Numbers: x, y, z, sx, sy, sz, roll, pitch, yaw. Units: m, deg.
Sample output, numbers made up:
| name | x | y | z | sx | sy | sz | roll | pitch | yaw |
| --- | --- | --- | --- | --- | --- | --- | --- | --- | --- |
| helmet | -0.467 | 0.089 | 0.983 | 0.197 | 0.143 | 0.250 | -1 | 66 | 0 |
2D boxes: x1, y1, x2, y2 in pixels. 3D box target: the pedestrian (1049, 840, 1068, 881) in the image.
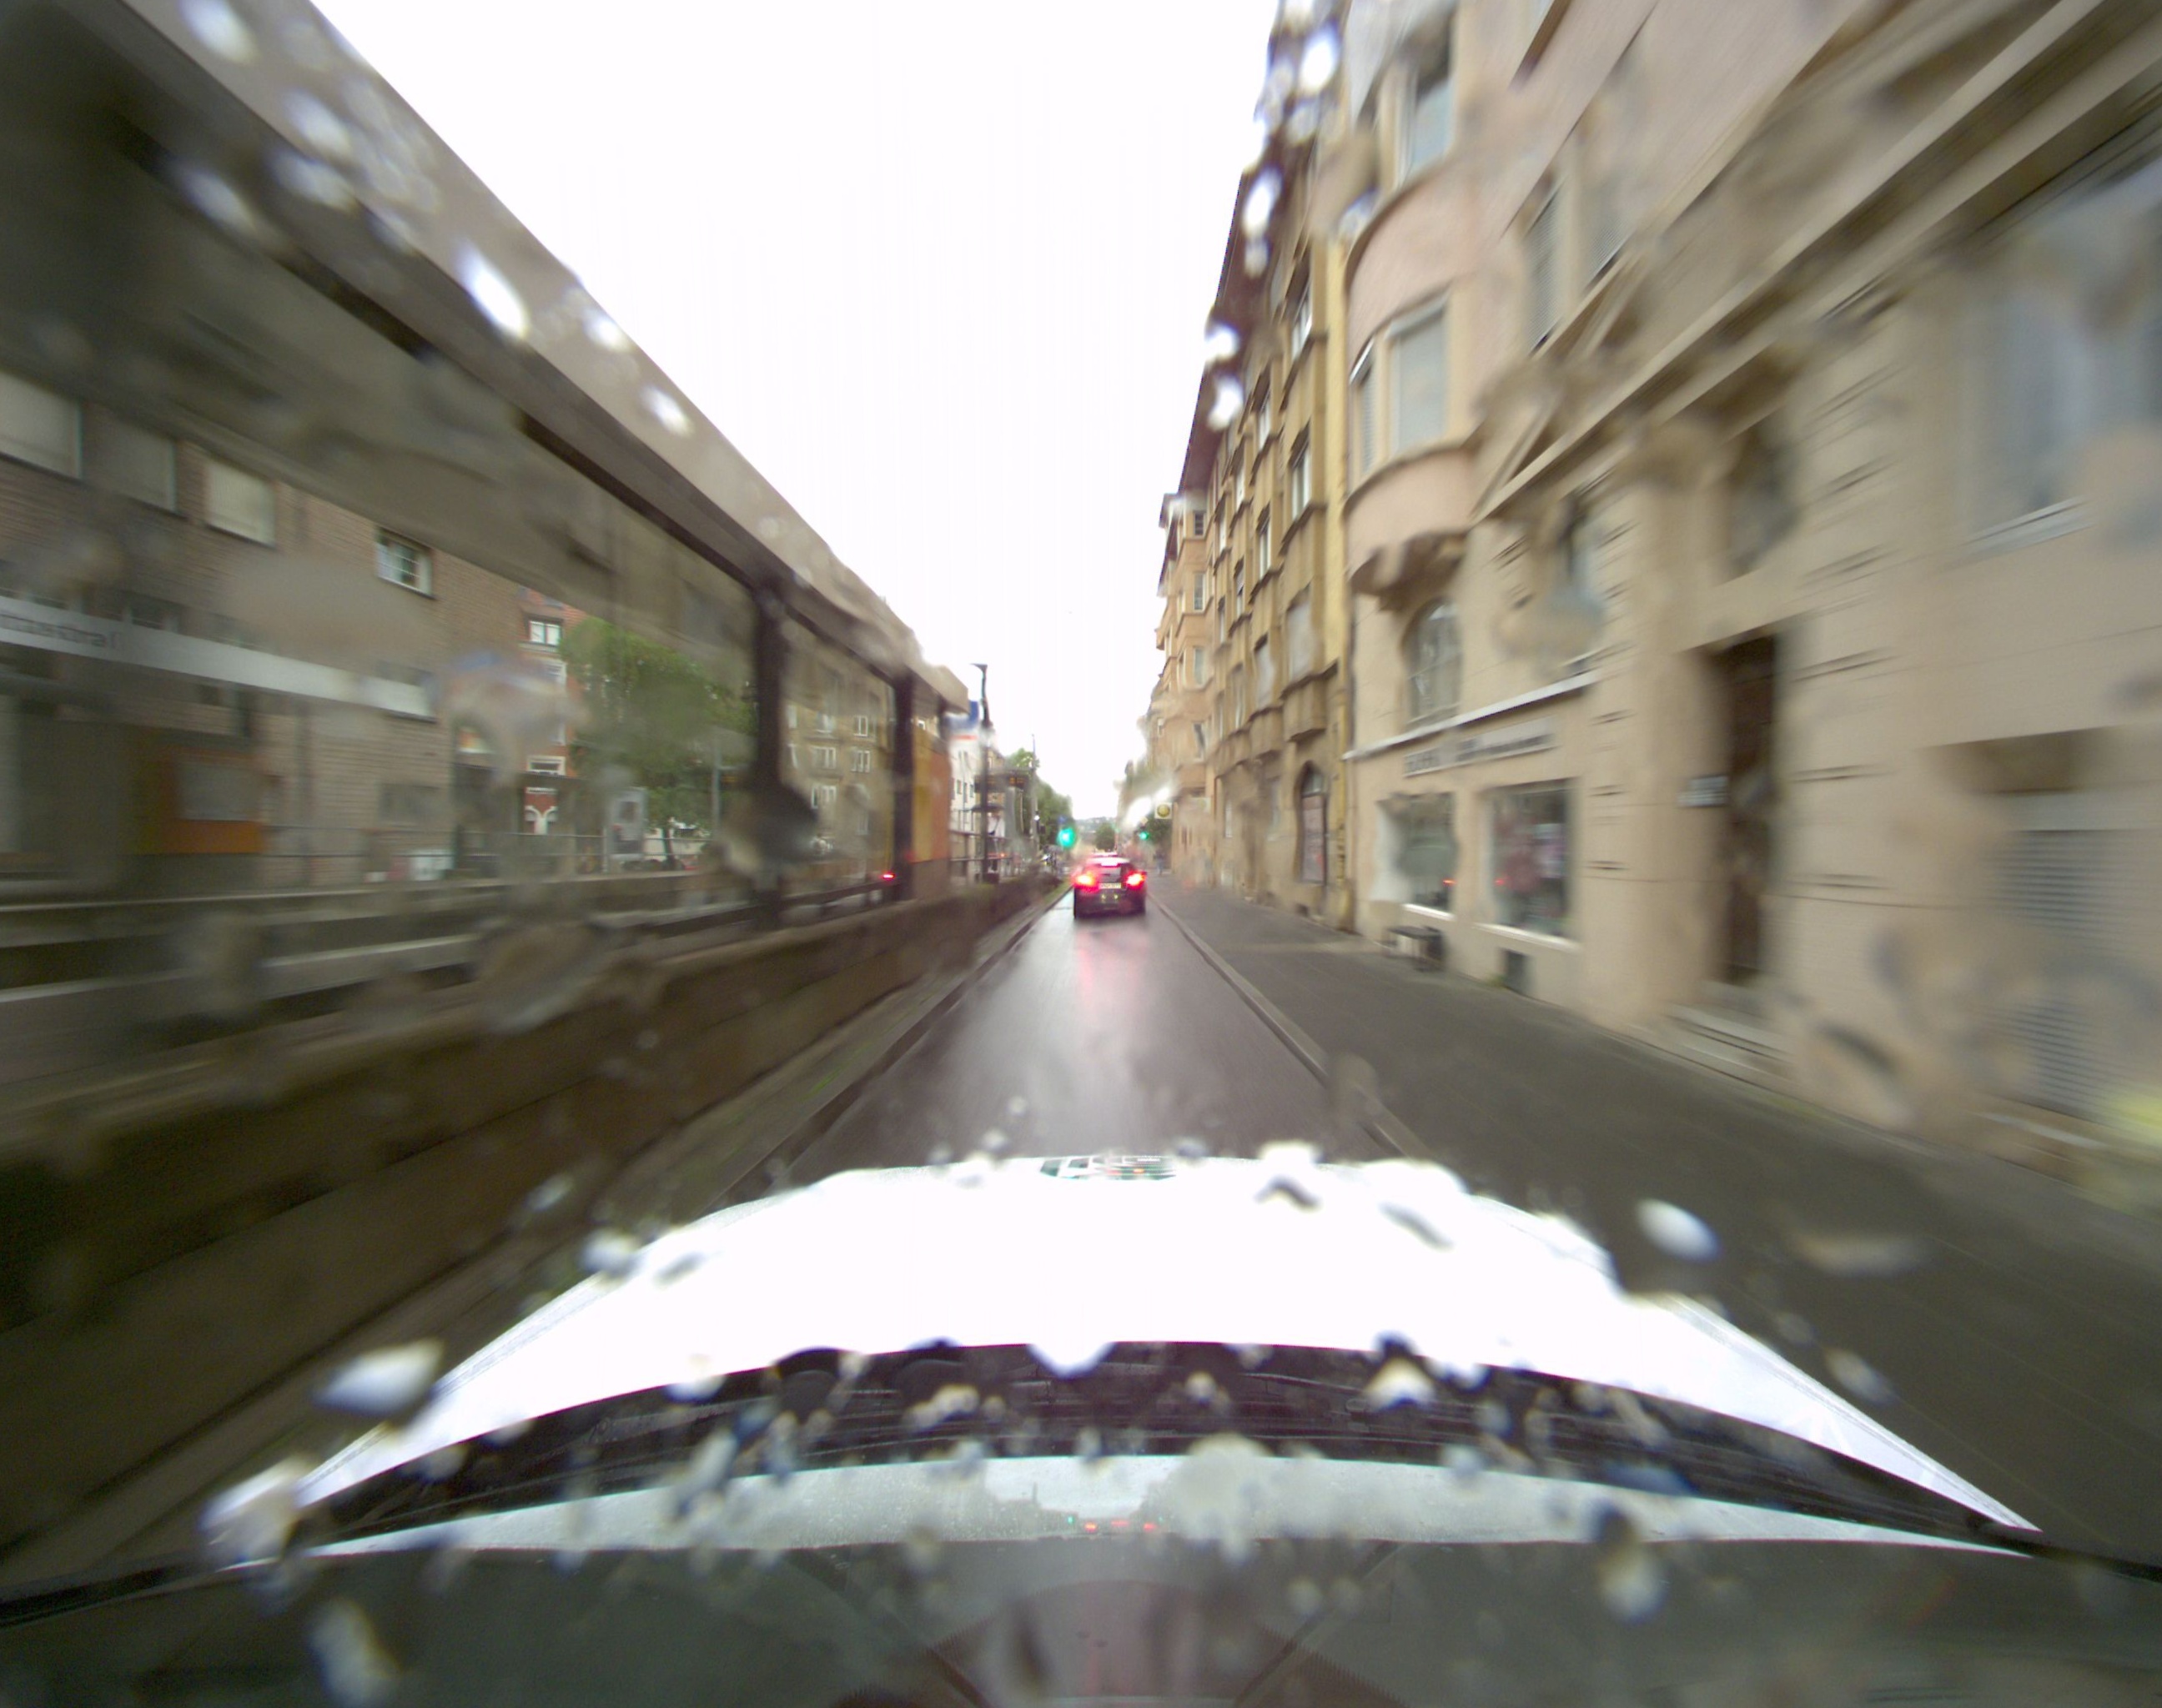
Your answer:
| name | x | y | z | sx | sy | sz | roll | pitch | yaw |
| --- | --- | --- | --- | --- | --- | --- | --- | --- | --- |
| pedestrian | -1.138 | 0.333 | 41.198 | 0.922 | 2.014 | 0.948 | 0 | 0 | 2 |

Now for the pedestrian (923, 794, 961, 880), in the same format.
| name | x | y | z | sx | sy | sz | roll | pitch | yaw |
| --- | --- | --- | --- | --- | --- | --- | --- | --- | --- |
| pedestrian | -2.931 | -0.351 | 17.183 | 0.641 | 1.774 | 0.711 | 0 | 0 | 2 |

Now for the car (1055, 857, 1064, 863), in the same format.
| name | x | y | z | sx | sy | sz | roll | pitch | yaw |
| --- | --- | --- | --- | --- | --- | --- | --- | --- | --- |
| car | -5.542 | 1.620 | 211.217 | 1.940 | 1.396 | 4.276 | -2 | 0 | 2 |

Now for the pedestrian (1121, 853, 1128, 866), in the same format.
| name | x | y | z | sx | sy | sz | roll | pitch | yaw |
| --- | --- | --- | --- | --- | --- | --- | --- | --- | --- |
| pedestrian | 6.149 | 0.768 | 116.087 | 0.942 | 1.769 | 1.015 | -1 | 0 | 0 |

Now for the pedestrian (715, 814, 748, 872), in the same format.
| name | x | y | z | sx | sy | sz | roll | pitch | yaw |
| --- | --- | --- | --- | --- | --- | --- | --- | --- | --- |
| pedestrian | -10.471 | -0.318 | 24.398 | 0.663 | 1.698 | 0.688 | -1 | 0 | -2 |

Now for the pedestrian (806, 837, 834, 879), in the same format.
| name | x | y | z | sx | sy | sz | roll | pitch | yaw |
| --- | --- | --- | --- | --- | --- | --- | --- | --- | --- |
| pedestrian | -10.031 | 0.168 | 31.306 | 0.690 | 1.583 | 0.956 | 0 | -2 | 2 |

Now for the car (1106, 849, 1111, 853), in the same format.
| name | x | y | z | sx | sy | sz | roll | pitch | yaw |
| --- | --- | --- | --- | --- | --- | --- | --- | --- | --- |
| car | 8.375 | -0.866 | 245.544 | 1.607 | 1.317 | 4.001 | 1 | 0 | 2 |

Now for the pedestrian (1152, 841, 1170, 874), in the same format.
| name | x | y | z | sx | sy | sz | roll | pitch | yaw |
| --- | --- | --- | --- | --- | --- | --- | --- | --- | --- |
| pedestrian | 4.649 | 0.204 | 47.213 | 0.895 | 1.840 | 0.970 | -4 | -1 | 7 |

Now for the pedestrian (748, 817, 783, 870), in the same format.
| name | x | y | z | sx | sy | sz | roll | pitch | yaw |
| --- | --- | --- | --- | --- | --- | --- | --- | --- | --- |
| pedestrian | -10.509 | -0.330 | 27.175 | 0.741 | 1.696 | 0.883 | 1 | -3 | 2 |

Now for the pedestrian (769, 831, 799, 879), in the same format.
| name | x | y | z | sx | sy | sz | roll | pitch | yaw |
| --- | --- | --- | --- | --- | --- | --- | --- | --- | --- |
| pedestrian | -10.568 | 0.044 | 28.967 | 0.741 | 1.647 | 0.641 | -3 | -2 | 1 |

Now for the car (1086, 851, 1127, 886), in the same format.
| name | x | y | z | sx | sy | sz | roll | pitch | yaw |
| --- | --- | --- | --- | --- | --- | --- | --- | --- | --- |
| car | 1.180 | 0.602 | 36.152 | 1.642 | 1.452 | 4.004 | 0 | 0 | 4 |

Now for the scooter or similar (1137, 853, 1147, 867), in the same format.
| name | x | y | z | sx | sy | sz | roll | pitch | yaw |
| --- | --- | --- | --- | --- | --- | --- | --- | --- | --- |
| scooter or similar | 5.478 | 0.560 | 73.292 | 0.636 | 1.210 | 1.551 | -2 | 0 | -3 |

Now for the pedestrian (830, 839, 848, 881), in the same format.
| name | x | y | z | sx | sy | sz | roll | pitch | yaw |
| --- | --- | --- | --- | --- | --- | --- | --- | --- | --- |
| pedestrian | -10.546 | 0.274 | 35.528 | 0.508 | 1.818 | 0.800 | 0 | 0 | 2 |

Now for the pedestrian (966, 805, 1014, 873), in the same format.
| name | x | y | z | sx | sy | sz | roll | pitch | yaw |
| --- | --- | --- | --- | --- | --- | --- | --- | --- | --- |
| pedestrian | -2.385 | -0.387 | 21.528 | 1.109 | 1.774 | 1.112 | 0 | 0 | 2 |

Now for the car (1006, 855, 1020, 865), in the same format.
| name | x | y | z | sx | sy | sz | roll | pitch | yaw |
| --- | --- | --- | --- | --- | --- | --- | --- | --- | --- |
| car | -11.253 | 0.980 | 134.234 | 1.715 | 1.541 | 3.937 | -2 | 0 | 3 |

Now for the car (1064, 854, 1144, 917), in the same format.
| name | x | y | z | sx | sy | sz | roll | pitch | yaw |
| --- | --- | --- | --- | --- | --- | --- | --- | --- | --- |
| car | 0.658 | 0.732 | 20.927 | 1.858 | 1.452 | 4.004 | 0 | 0 | 3 |

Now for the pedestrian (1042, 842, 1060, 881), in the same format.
| name | x | y | z | sx | sy | sz | roll | pitch | yaw |
| --- | --- | --- | --- | --- | --- | --- | --- | --- | --- |
| pedestrian | -1.582 | 0.403 | 42.817 | 0.893 | 2.014 | 0.948 | 0 | 0 | 2 |
